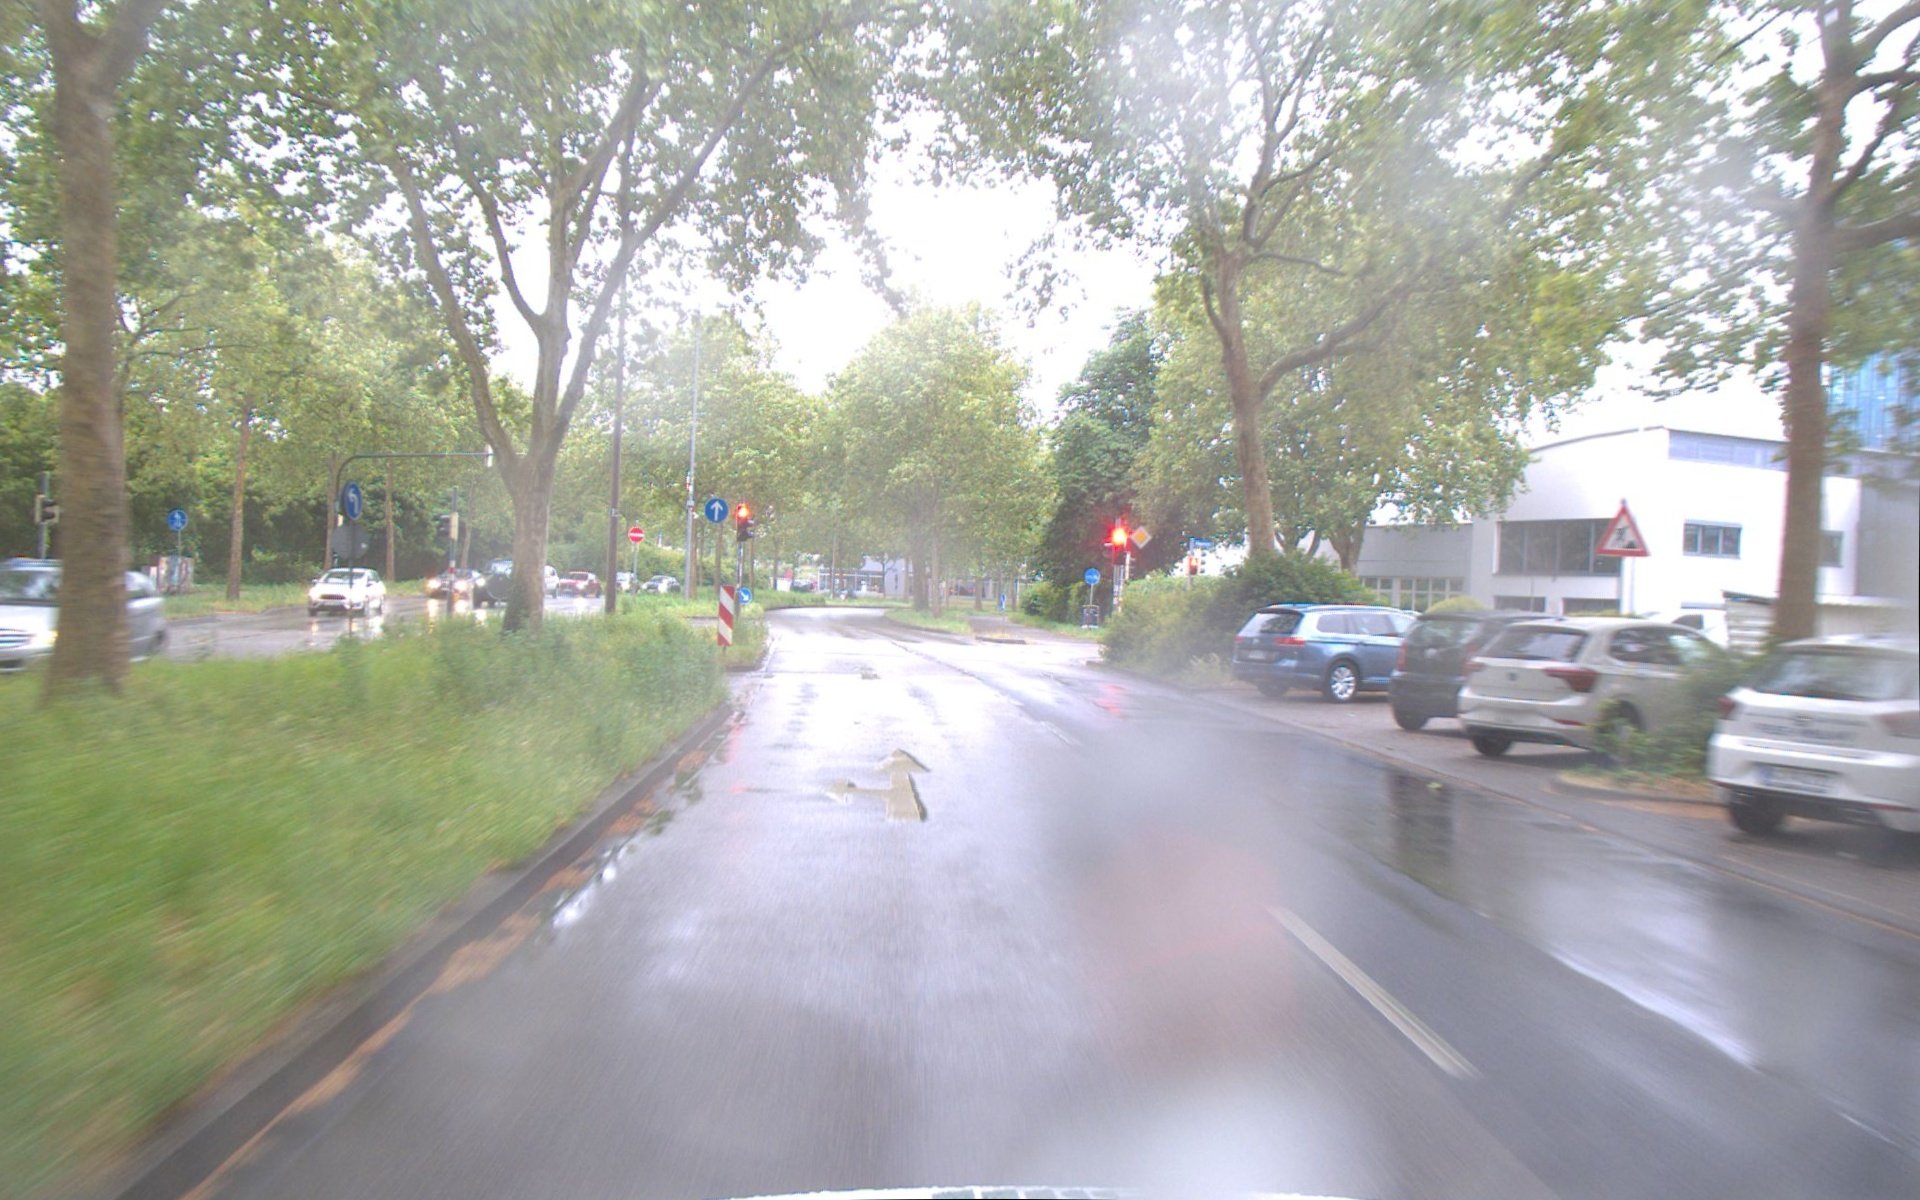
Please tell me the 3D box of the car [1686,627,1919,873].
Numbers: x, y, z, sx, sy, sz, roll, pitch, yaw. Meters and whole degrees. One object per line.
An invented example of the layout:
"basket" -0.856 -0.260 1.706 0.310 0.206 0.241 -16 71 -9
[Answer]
"car" 7.072 0.959 11.623 3.638 1.441 1.733 1 0 -28

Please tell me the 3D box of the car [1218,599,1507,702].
"car" 6.405 0.790 26.196 4.430 1.484 1.733 1 0 -28

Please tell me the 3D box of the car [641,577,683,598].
"car" -20.686 -0.853 114.932 1.553 1.396 4.266 2 0 9

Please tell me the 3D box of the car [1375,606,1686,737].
"car" 7.074 0.849 20.453 3.645 1.441 1.730 1 0 -32

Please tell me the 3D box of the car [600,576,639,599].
"car" -21.980 -0.809 106.782 1.554 1.396 3.336 2 0 5

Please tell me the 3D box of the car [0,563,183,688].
"car" -12.798 0.299 23.732 1.710 1.619 4.323 1 0 -7

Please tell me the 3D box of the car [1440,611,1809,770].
"car" 6.922 0.887 17.170 3.645 1.441 1.756 1 0 -32

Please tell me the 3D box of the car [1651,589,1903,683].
"car" 16.970 0.727 34.468 4.450 1.788 1.747 2 0 -6

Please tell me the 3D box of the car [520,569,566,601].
"car" -22.337 -0.815 88.698 1.709 1.660 4.439 1 0 -5

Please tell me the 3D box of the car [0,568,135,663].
"car" -17.024 0.231 30.578 1.709 1.619 4.205 1 0 -5

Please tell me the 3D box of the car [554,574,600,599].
"car" -22.519 -0.792 97.344 1.708 1.432 4.444 2 0 -1

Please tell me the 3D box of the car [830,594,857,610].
"car" -11.014 0.183 156.171 1.553 1.396 4.266 2 0 9

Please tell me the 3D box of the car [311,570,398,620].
"car" -19.702 -0.177 53.946 1.710 1.502 4.228 1 0 -7

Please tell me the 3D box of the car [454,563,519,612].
"car" -19.293 -0.523 67.552 1.710 1.874 5.112 1 0 -7

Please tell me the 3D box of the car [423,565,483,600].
"car" -23.140 -0.793 75.566 1.709 1.502 4.231 1 0 -5

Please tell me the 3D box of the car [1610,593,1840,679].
"car" 17.241 0.799 37.357 4.453 1.788 1.777 1 0 -9
